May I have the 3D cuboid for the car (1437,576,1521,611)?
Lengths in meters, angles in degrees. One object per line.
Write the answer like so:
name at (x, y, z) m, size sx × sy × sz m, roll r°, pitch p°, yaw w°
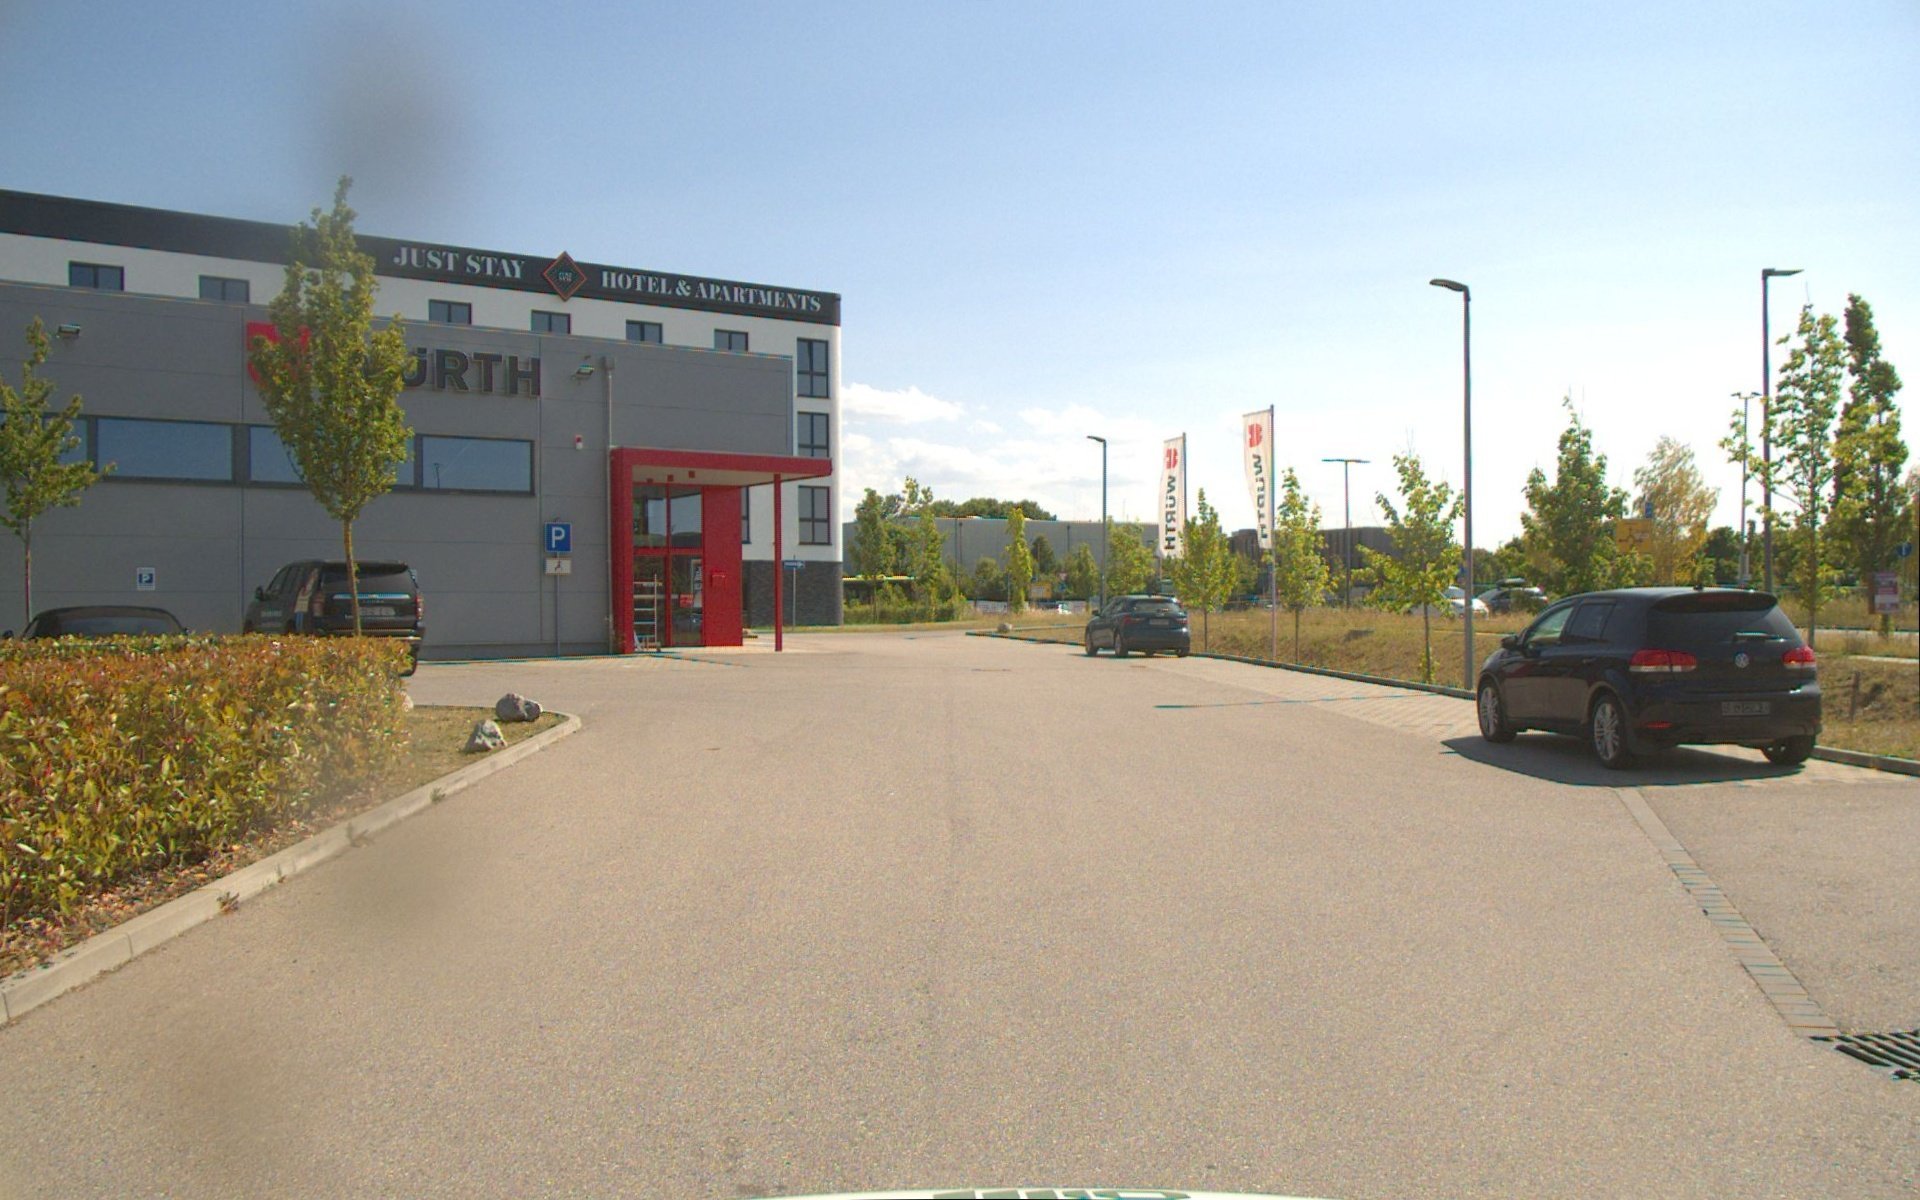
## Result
car at (24.175, -0.320, 77.038) m, size 3.609 × 1.625 × 1.701 m, roll -1°, pitch 1°, yaw -25°

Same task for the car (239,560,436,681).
car at (-10.903, 0.286, 28.765) m, size 2.054 × 1.913 × 4.818 m, roll -1°, pitch 1°, yaw -35°

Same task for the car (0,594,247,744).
car at (-9.290, 0.650, 18.051) m, size 1.848 × 1.386 × 4.319 m, roll -1°, pitch 1°, yaw -37°

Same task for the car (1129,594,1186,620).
car at (11.397, 0.390, 95.475) m, size 1.628 × 1.410 × 3.481 m, roll -1°, pitch 1°, yaw -27°

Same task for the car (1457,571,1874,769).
car at (6.242, 0.539, 15.215) m, size 1.800 × 1.502 × 4.116 m, roll -2°, pitch 0°, yaw -5°

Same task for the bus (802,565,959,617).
bus at (-5.680, -0.657, 117.446) m, size 10.994 × 3.619 × 2.573 m, roll 0°, pitch 1°, yaw -5°

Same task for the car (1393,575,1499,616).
car at (18.656, -0.186, 63.667) m, size 1.848 × 1.509 × 3.971 m, roll -1°, pitch 1°, yaw -23°

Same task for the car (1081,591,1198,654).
car at (4.223, 0.502, 39.448) m, size 1.668 × 1.431 × 3.885 m, roll 0°, pitch 0°, yaw -12°
